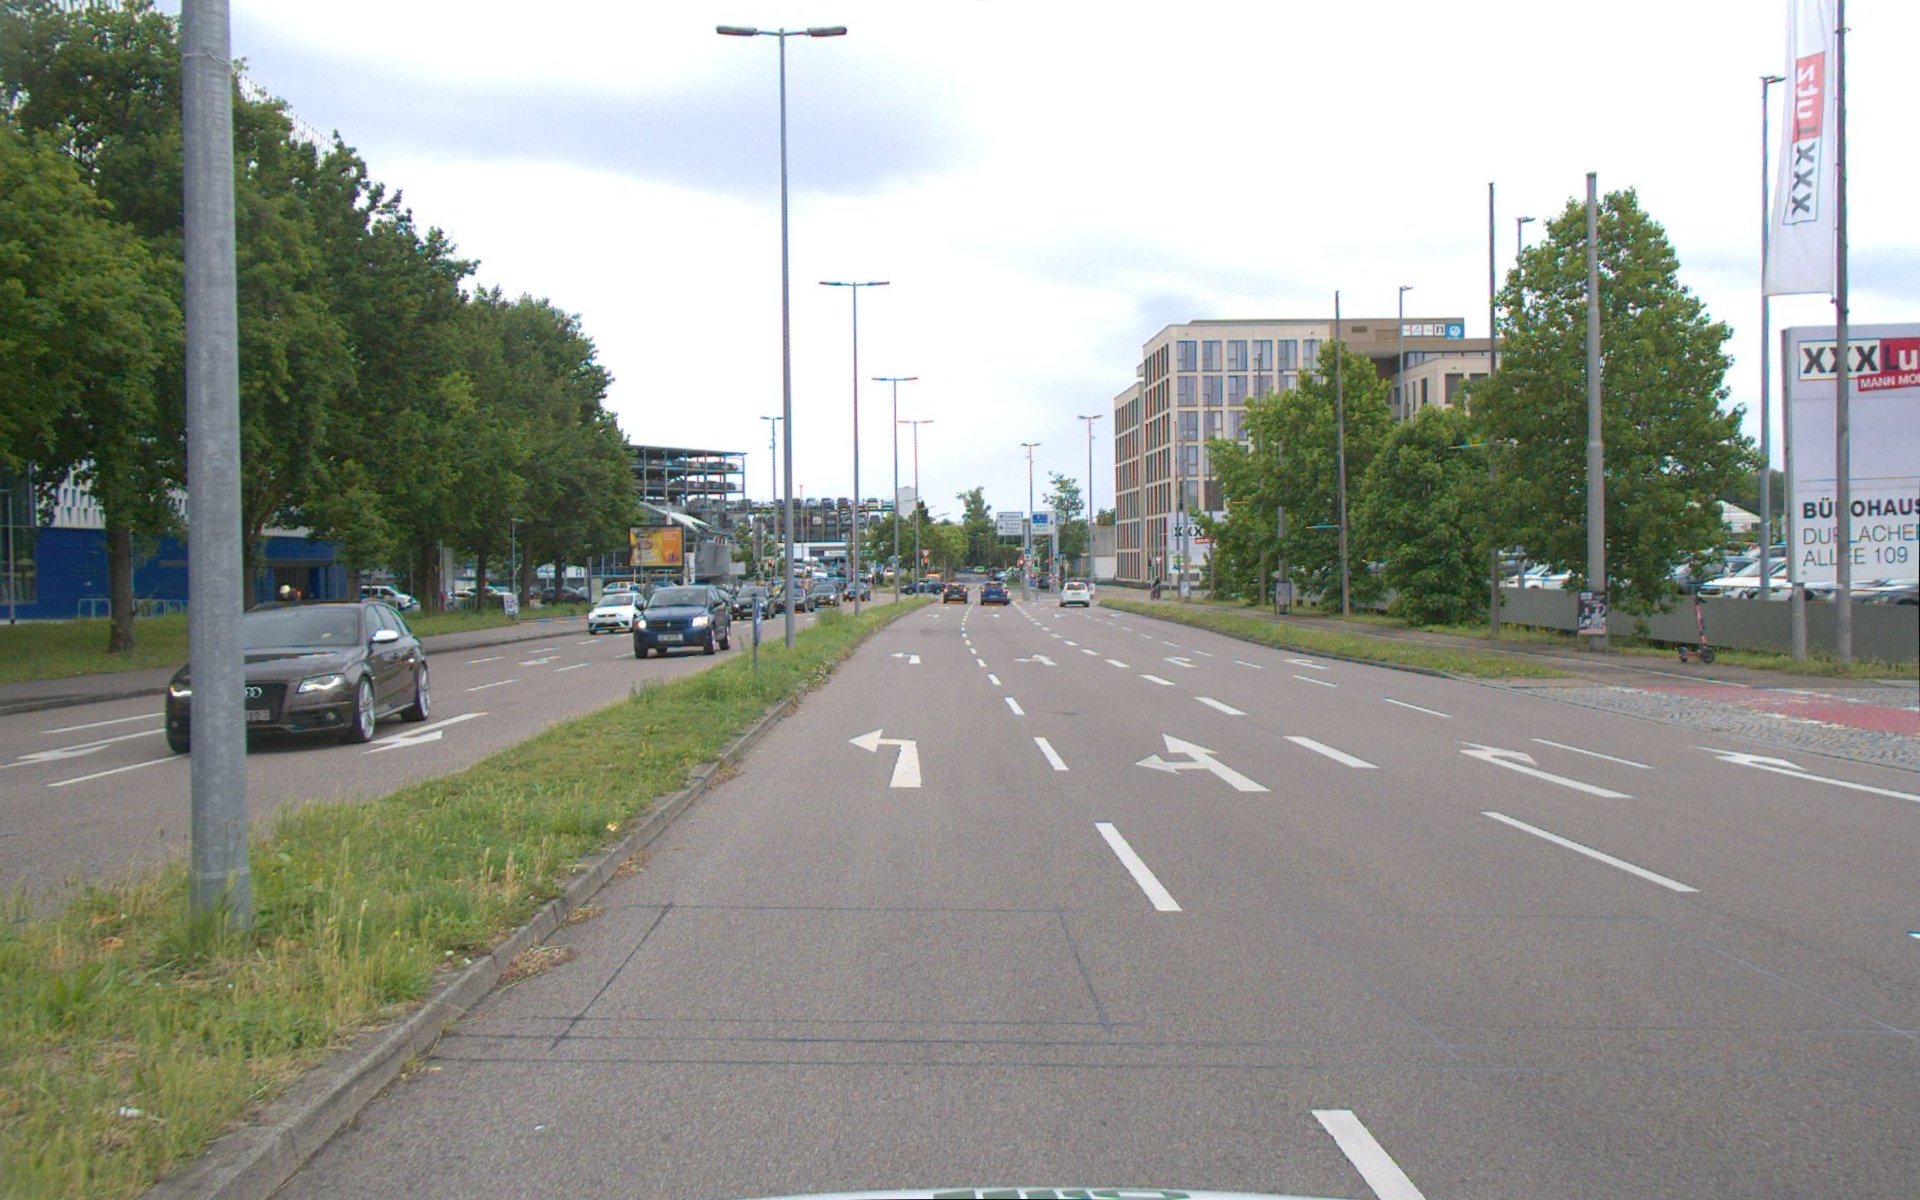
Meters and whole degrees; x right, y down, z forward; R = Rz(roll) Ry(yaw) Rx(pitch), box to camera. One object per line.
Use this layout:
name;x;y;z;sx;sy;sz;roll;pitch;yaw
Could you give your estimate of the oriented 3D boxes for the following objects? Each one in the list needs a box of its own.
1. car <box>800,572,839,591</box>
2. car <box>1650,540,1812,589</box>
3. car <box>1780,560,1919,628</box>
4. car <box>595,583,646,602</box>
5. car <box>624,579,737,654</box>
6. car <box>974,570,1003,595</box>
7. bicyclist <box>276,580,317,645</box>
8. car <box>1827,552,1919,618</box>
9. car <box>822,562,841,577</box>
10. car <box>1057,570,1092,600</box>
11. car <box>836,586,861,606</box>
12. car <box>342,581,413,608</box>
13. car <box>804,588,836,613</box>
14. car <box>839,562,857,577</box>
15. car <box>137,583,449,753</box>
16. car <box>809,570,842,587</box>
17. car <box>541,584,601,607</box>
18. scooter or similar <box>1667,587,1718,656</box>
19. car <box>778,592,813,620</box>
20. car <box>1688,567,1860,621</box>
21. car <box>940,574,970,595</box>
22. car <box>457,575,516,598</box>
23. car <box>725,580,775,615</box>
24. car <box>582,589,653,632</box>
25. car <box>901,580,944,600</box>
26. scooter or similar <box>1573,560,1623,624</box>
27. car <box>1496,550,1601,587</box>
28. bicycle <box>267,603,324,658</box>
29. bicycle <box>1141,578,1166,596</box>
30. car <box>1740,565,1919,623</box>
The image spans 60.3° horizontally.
car;-14.107;-1.859;166.218;3.909;1.821;1.846;-1;3;-5
car;23.298;-1.085;50.071;4.068;1.373;1.810;-1;3;-2
car;22.781;-0.180;41.080;3.970;1.567;1.764;-1;3;0
car;-30.806;-0.672;150.085;4.332;1.689;1.997;-1;0;-7
car;-6.283;0.329;37.678;1.892;1.511;4.438;-2;1;-2
car;1.867;-1.167;109.560;1.797;1.540;4.000;0;2;0
bicyclist;-16.534;0.302;41.227;0.627;1.605;1.000;1;1;-2
car;22.942;-0.391;38.681;4.374;1.443;1.868;-1;3;0
car;-16.352;-3.900;210.125;1.738;1.735;3.920;0;3;5
car;7.078;-0.937;102.924;1.952;1.782;4.181;-1;1;1
car;-8.866;-0.338;131.096;1.893;1.481;4.178;0;1;-5
car;-47.128;-0.453;133.919;5.031;1.997;1.879;-1;4;-5
car;-9.199;0.038;109.023;1.744;1.481;4.182;-3;1;-1
car;-14.206;-3.927;210.169;1.738;1.735;3.920;0;3;5
car;-6.809;0.625;17.430;1.847;1.461;4.425;-3;0;-6
car;-14.355;-2.323;176.870;3.534;1.696;1.547;-1;3;-5
car;-31.633;-0.406;134.694;4.456;1.688;1.997;-2;1;-7
scooter or similar;13.430;0.377;30.338;0.362;1.211;1.248;-1;1;-1
car;-9.357;0.341;94.185;1.737;1.477;4.402;-3;0;-3
car;22.752;-0.193;46.335;3.972;1.373;1.764;-1;3;-2
car;-0.374;-1.068;116.512;1.947;1.453;4.240;-1;0;-2
car;-39.428;-1.147;137.691;4.347;1.740;1.999;-1;4;-6
car;-9.591;-0.137;75.767;1.722;1.478;4.000;-3;1;0
car;-12.859;0.372;62.331;1.828;1.479;4.168;-2;0;-1
car;-3.444;-0.898;151.705;3.781;1.663;1.723;-1;3;-6
scooter or similar;14.737;-0.186;38.222;0.636;1.446;1.820;-1;0;8
car;22.479;-1.206;63.269;3.446;1.330;1.605;-1;3;-6
bicycle;-16.550;0.746;41.214;0.629;1.272;2.056;1;1;-1
bicycle;14.386;-0.985;122.815;0.694;1.318;1.986;-1;2;-36
car;22.854;-0.171;43.348;3.972;1.373;1.835;-1;3;-2
